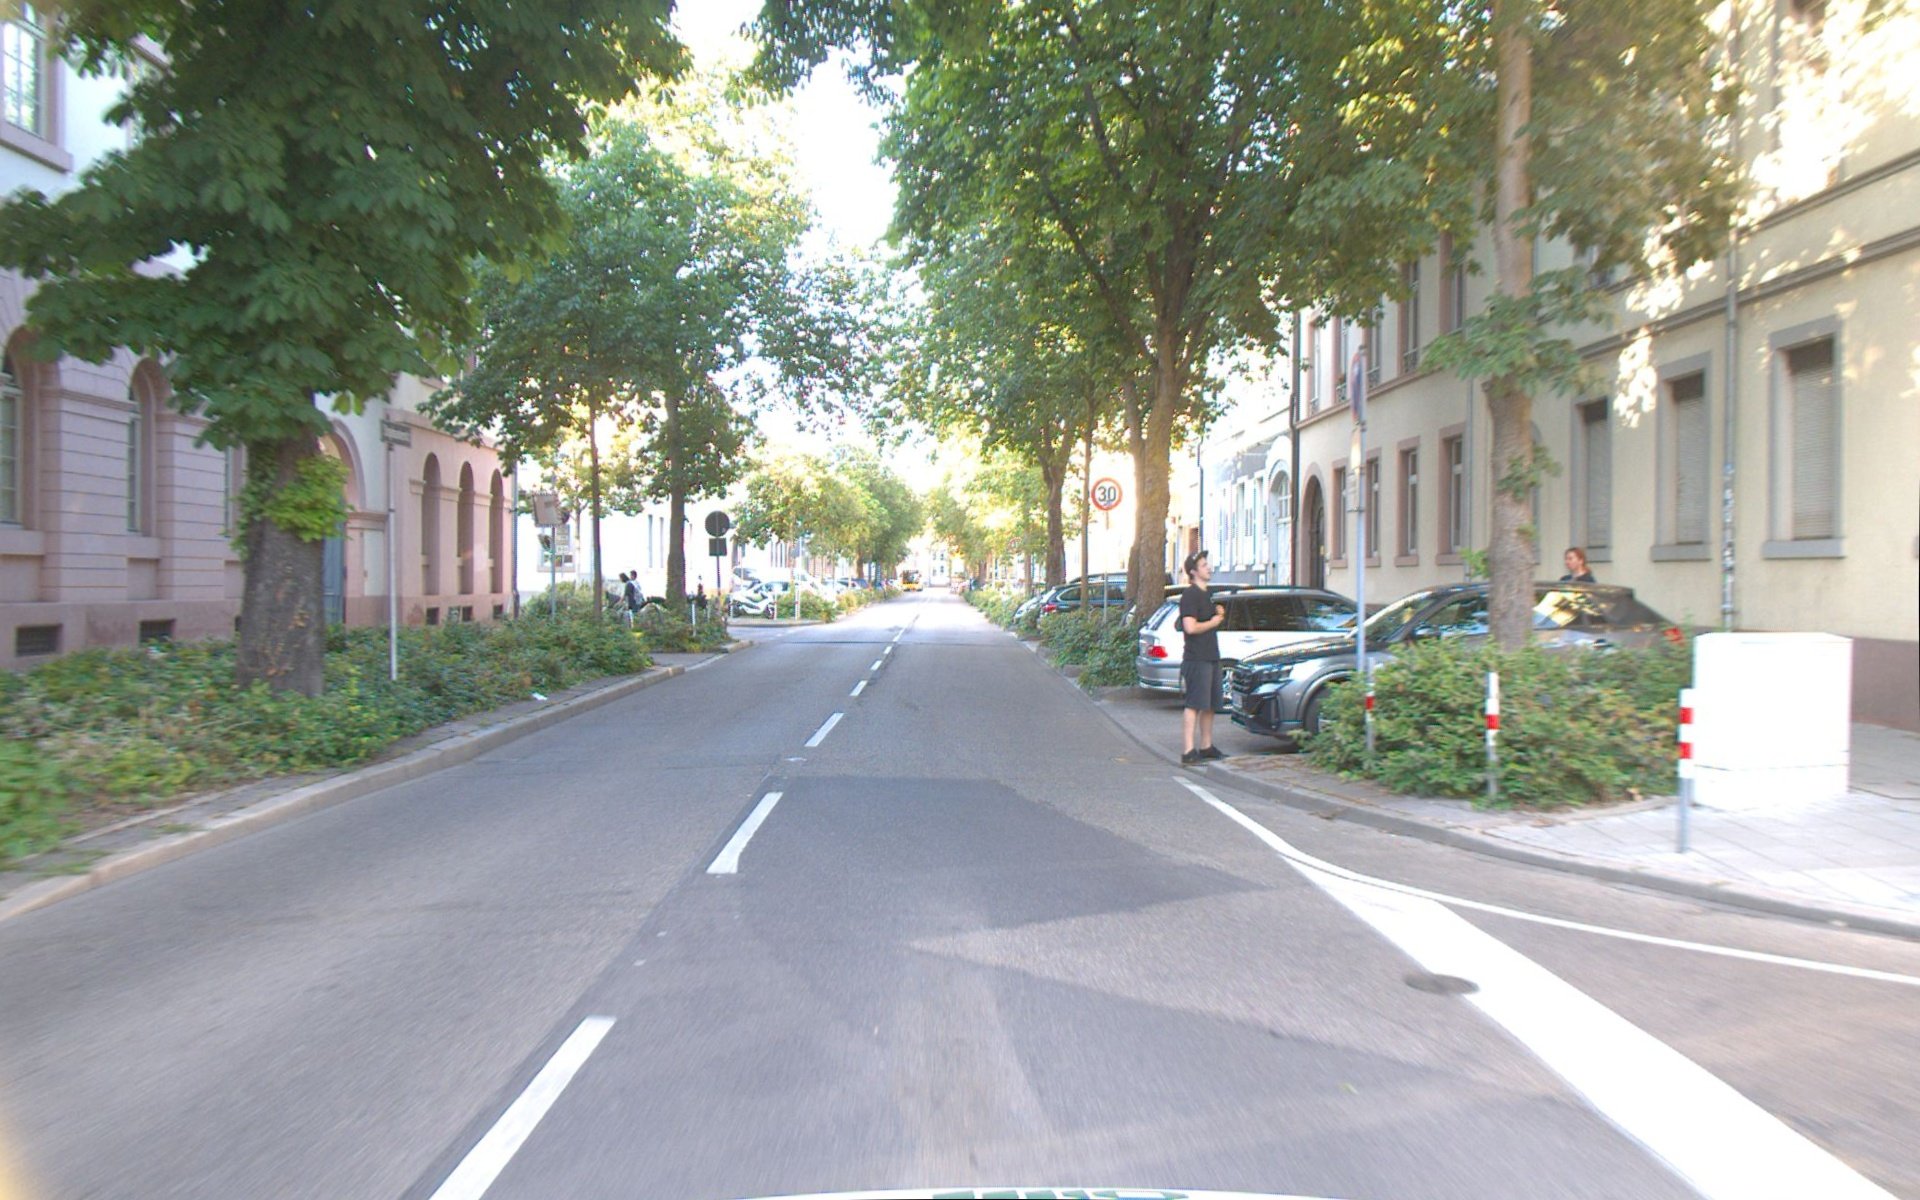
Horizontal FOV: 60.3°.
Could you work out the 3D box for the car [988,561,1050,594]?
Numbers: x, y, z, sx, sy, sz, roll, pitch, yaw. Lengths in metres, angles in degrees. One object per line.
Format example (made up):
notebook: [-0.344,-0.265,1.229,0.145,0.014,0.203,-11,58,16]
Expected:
car: [3.740,-1.412,104.918,3.904,2.049,2.001,0,1,2]

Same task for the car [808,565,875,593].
car: [-9.133,-1.647,127.289,4.960,2.119,2.263,0,1,0]

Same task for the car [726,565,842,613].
car: [-7.829,-0.503,74.081,4.961,2.119,2.263,0,1,-1]

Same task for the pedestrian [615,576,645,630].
pedestrian: [-8.853,0.086,44.406,0.641,1.419,0.607,1,0,-1]

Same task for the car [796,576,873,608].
car: [-8.334,-0.557,110.398,4.960,2.119,2.263,0,1,0]

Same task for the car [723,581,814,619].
car: [-7.934,0.002,68.689,3.652,1.534,1.871,0,1,-4]

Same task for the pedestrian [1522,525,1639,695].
pedestrian: [6.479,0.088,17.303,0.923,1.736,0.782,0,2,1]

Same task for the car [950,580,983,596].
car: [0.773,-1.491,206.918,3.902,1.870,2.002,0,1,7]

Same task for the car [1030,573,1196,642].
car: [3.790,0.175,41.399,3.933,1.651,1.780,0,1,-2]

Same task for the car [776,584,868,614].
car: [-7.812,-0.073,94.152,4.958,1.645,2.264,0,1,2]

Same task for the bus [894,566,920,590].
bus: [-7.459,-3.040,231.785,2.970,3.246,9.391,0,1,-6]

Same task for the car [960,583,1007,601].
car: [1.955,-0.661,139.521,3.907,1.467,1.696,0,1,-3]

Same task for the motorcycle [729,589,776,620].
motorcycle: [-7.455,0.153,59.503,1.603,1.087,0.656,1,1,-1]

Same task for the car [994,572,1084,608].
car: [3.981,-0.503,84.422,4.498,1.792,2.222,0,1,0]

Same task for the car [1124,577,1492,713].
car: [4.186,0.513,20.343,4.107,1.506,1.852,-1,1,-1]

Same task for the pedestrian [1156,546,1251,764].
pedestrian: [2.175,0.485,14.856,0.777,1.901,0.752,0,-1,4]

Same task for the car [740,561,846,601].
car: [-8.249,-0.939,81.853,4.959,1.855,2.264,0,3,1]

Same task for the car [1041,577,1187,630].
car: [4.333,0.075,46.860,3.933,1.443,1.780,-1,1,-2]

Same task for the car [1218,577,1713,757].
car: [4.572,0.578,15.384,4.025,1.516,1.850,0,2,-2]

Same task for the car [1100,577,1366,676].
car: [4.306,0.397,26.469,3.933,1.506,1.780,0,1,-2]

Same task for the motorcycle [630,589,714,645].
motorcycle: [-6.762,0.395,38.907,1.880,1.280,0.591,0,1,-1]

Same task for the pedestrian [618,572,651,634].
pedestrian: [-8.905,0.079,45.304,0.703,1.693,0.838,0,1,2]
